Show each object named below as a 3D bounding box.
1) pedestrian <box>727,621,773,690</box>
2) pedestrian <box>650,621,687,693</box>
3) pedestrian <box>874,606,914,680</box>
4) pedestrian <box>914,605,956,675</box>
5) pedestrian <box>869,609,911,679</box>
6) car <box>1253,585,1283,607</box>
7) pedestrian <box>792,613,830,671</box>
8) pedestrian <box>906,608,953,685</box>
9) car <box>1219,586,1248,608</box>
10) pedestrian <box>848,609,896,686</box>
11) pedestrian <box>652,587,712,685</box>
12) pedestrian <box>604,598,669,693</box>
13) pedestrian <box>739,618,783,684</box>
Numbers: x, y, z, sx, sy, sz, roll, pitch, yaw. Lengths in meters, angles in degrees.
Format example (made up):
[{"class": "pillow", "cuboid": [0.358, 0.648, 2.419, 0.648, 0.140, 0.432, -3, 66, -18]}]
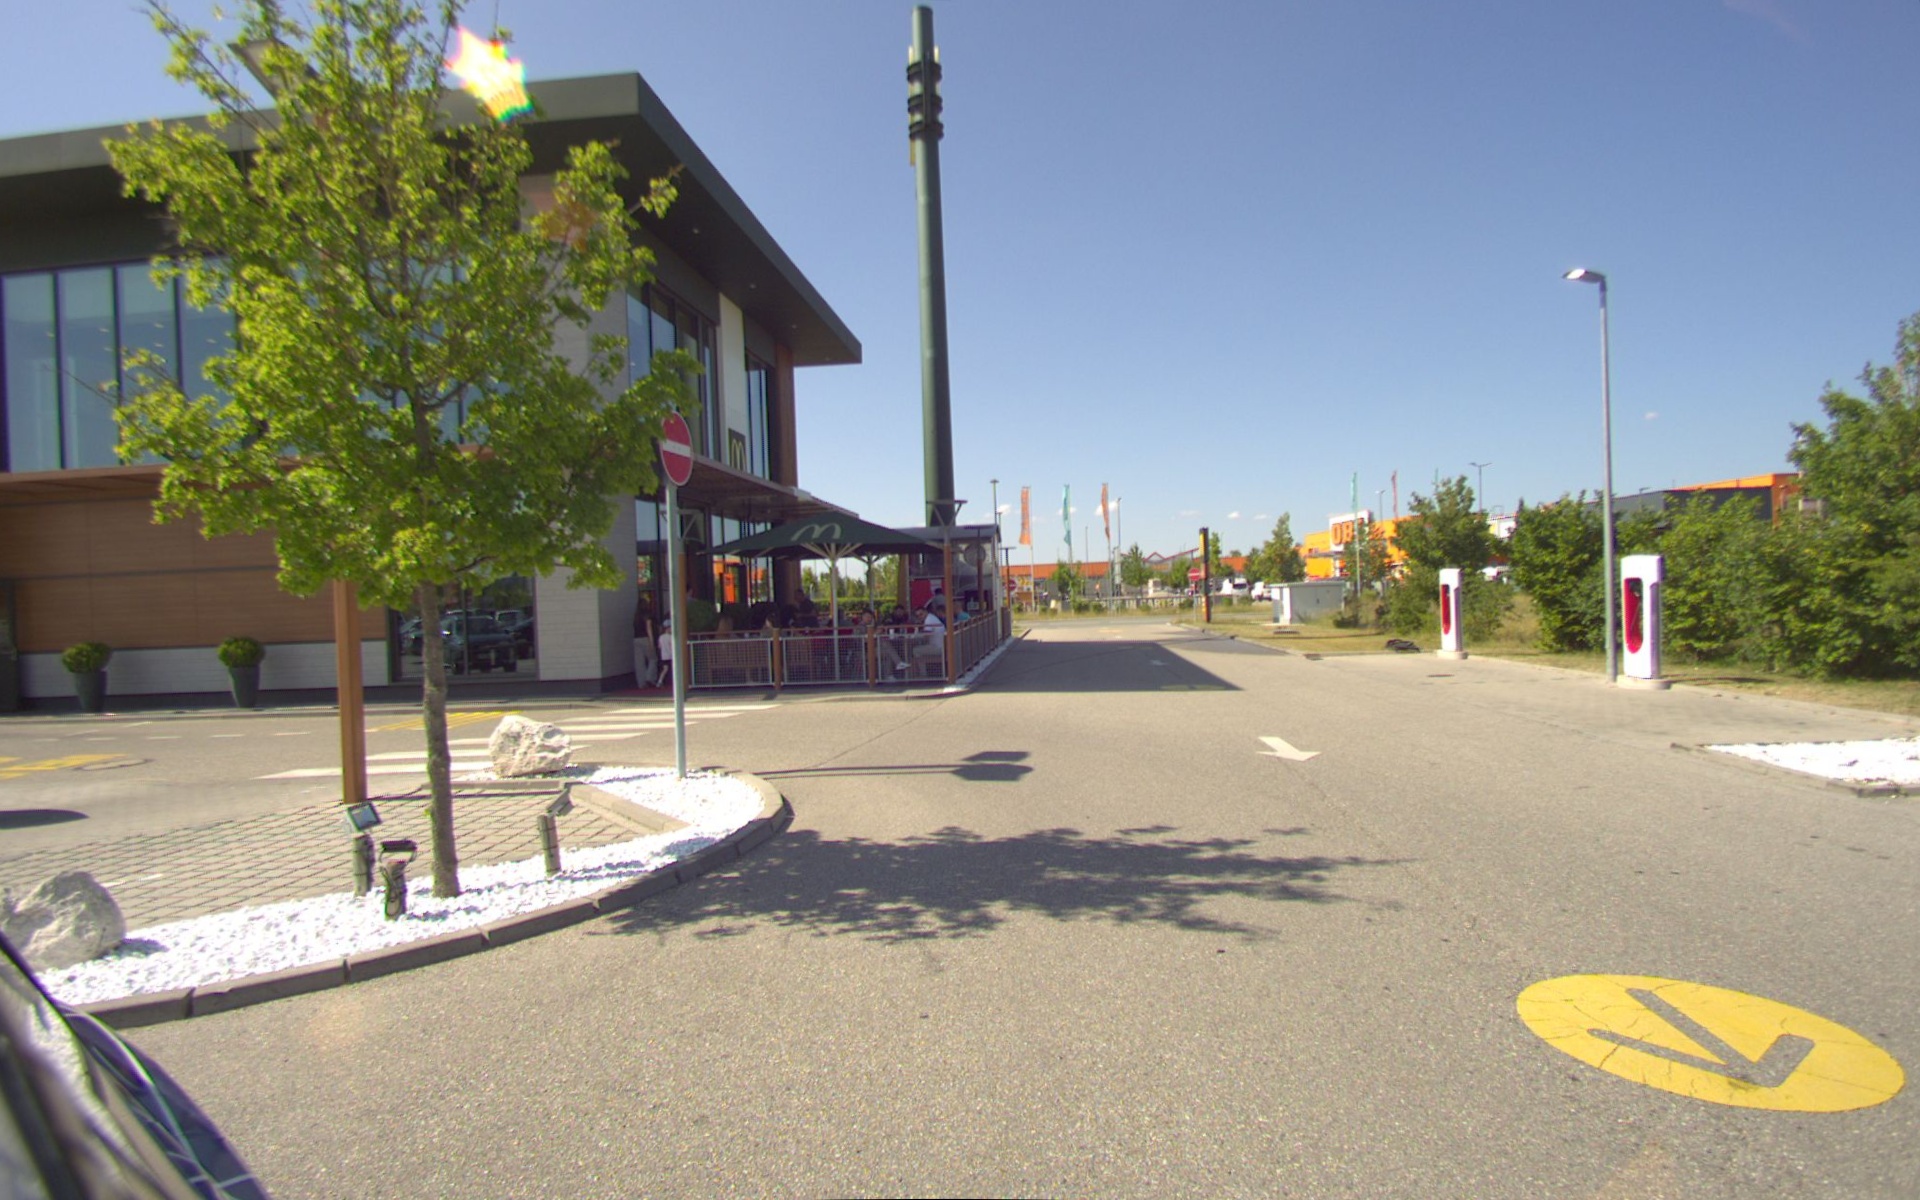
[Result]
[{"class": "pedestrian", "cuboid": [-3.589, 0.937, 17.297, 0.626, 1.132, 0.524, -3, -1, 2]}, {"class": "pedestrian", "cuboid": [-4.998, 0.966, 17.351, 0.442, 1.195, 0.491, -3, -1, 0]}, {"class": "pedestrian", "cuboid": [-1.172, 0.758, 18.027, 0.626, 1.267, 0.524, -3, -1, 2]}, {"class": "pedestrian", "cuboid": [-0.462, 0.747, 19.071, 0.720, 1.267, 0.573, -3, -1, 1]}, {"class": "pedestrian", "cuboid": [-1.318, 0.823, 19.139, 0.706, 1.267, 0.524, -3, -1, 2]}, {"class": "car", "cuboid": [29.818, -0.406, 98.164, 1.975, 2.029, 3.993, -2, -1, 6]}, {"class": "pedestrian", "cuboid": [-2.984, 0.832, 20.283, 0.566, 1.109, 0.655, -3, -1, 5]}, {"class": "pedestrian", "cuboid": [-0.518, 0.791, 17.441, 0.720, 1.267, 0.573, -3, -1, 1]}, {"class": "car", "cuboid": [26.472, -0.309, 98.145, 1.975, 2.029, 3.993, -2, -1, 6]}, {"class": "pedestrian", "cuboid": [-1.487, 0.800, 17.232, 0.706, 1.267, 0.524, -3, -1, 2]}, {"class": "pedestrian", "cuboid": [-5.241, 0.669, 19.115, 0.884, 1.781, 0.804, -3, -1, -2]}, {"class": "pedestrian", "cuboid": [-5.622, 0.787, 17.615, 0.735, 1.595, 0.725, -3, -1, 16]}, {"class": "pedestrian", "cuboid": [-3.538, 0.897, 18.000, 0.626, 1.132, 0.524, -3, -1, 2]}]
